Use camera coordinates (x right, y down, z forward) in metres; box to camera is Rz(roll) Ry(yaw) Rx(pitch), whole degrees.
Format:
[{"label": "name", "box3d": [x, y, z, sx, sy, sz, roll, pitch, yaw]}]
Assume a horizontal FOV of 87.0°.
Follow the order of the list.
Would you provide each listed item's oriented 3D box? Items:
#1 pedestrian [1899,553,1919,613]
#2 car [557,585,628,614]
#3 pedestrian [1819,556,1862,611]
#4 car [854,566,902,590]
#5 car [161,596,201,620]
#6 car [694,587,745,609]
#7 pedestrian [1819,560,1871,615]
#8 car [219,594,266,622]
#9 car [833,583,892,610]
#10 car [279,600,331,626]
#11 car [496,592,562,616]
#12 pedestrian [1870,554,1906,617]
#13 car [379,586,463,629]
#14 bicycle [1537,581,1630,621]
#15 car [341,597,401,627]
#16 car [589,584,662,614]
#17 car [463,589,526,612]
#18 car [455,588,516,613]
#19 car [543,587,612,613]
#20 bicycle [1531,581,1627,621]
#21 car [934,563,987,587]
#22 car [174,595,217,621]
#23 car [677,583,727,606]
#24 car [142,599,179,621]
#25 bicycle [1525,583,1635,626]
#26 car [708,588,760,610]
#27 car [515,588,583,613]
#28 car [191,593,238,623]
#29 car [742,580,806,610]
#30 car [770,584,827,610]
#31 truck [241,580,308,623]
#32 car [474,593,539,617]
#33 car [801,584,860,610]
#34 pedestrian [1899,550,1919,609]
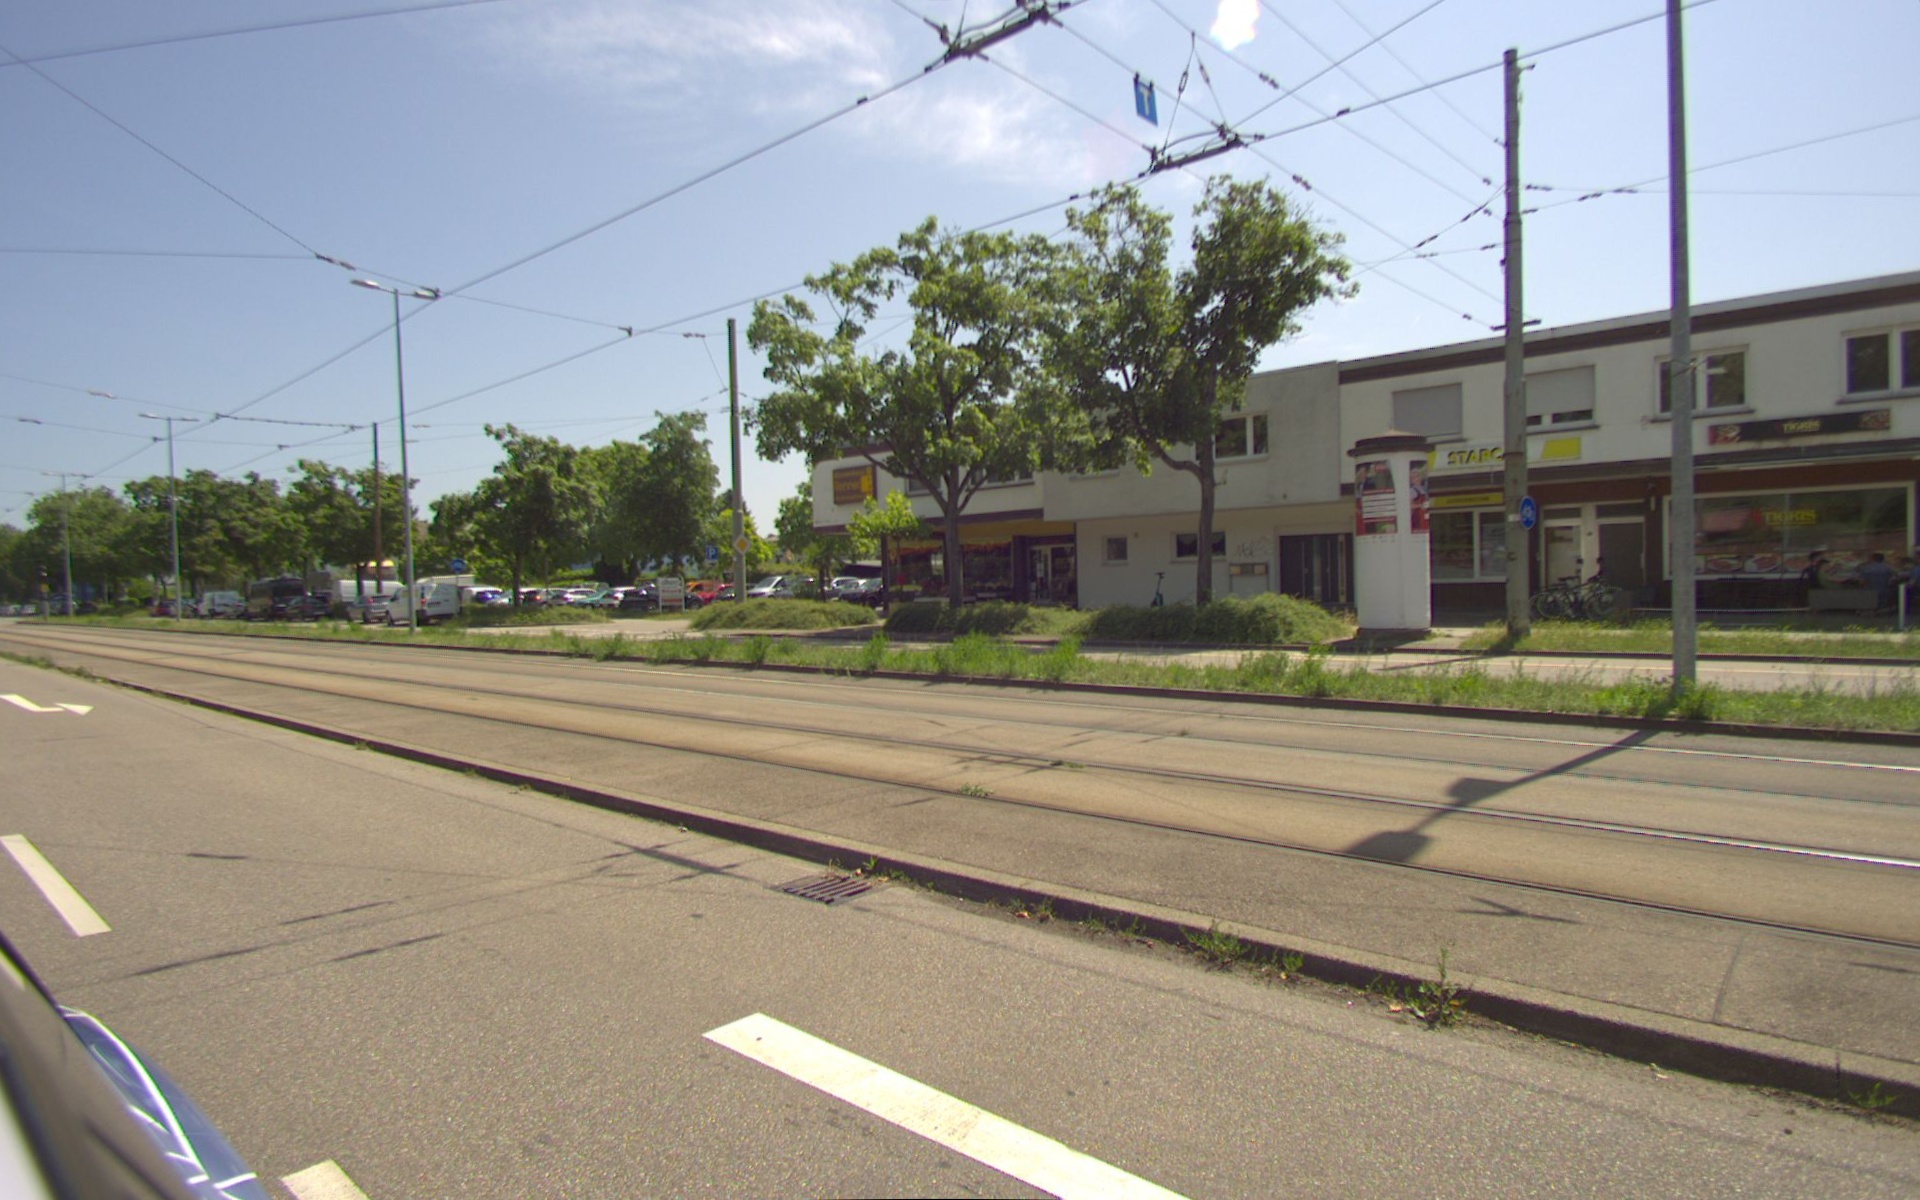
[{"label": "pedestrian", "box3d": [19.568, -0.354, 20.563, 0.674, 1.208, 0.512, -1, 1, 41]}, {"label": "car", "box3d": [-20.538, -0.031, 56.652, 1.595, 1.502, 3.375, -1, 1, 36]}, {"label": "pedestrian", "box3d": [19.137, -0.359, 22.005, 0.674, 1.172, 0.512, -1, 1, 41]}, {"label": "car", "box3d": [-7.172, -1.929, 88.732, 2.000, 2.029, 3.944, -1, 1, 43]}, {"label": "car", "box3d": [-60.614, 0.647, 78.722, 4.200, 1.807, 1.660, -1, 1, 40]}, {"label": "car", "box3d": [-17.137, -0.182, 72.169, 1.505, 1.469, 3.314, -1, 1, 38]}, {"label": "pedestrian", "box3d": [18.716, -0.262, 21.411, 0.810, 1.136, 0.558, -1, 1, 41]}, {"label": "car", "box3d": [-48.514, 0.532, 68.400, 3.866, 1.807, 1.660, -1, 1, 40]}, {"label": "car", "box3d": [-5.941, -0.227, 61.735, 1.622, 1.549, 3.450, -1, 1, 38]}, {"label": "car", "box3d": [-37.829, 0.724, 58.395, 3.669, 1.397, 1.653, -1, 1, 43]}, {"label": "car", "box3d": [-26.441, 0.234, 62.136, 1.600, 1.404, 3.375, -1, 1, 36]}, {"label": "pedestrian", "box3d": [18.776, -0.289, 20.480, 0.491, 1.248, 0.569, -1, 1, 40]}, {"label": "car", "box3d": [-25.493, 0.333, 47.788, 4.660, 1.897, 1.973, -1, 1, 41]}, {"label": "bicycle", "box3d": [14.504, 0.024, 23.569, 1.786, 0.854, 0.523, -1, 4, 41]}, {"label": "car", "box3d": [-30.249, 0.606, 51.934, 3.568, 1.397, 1.653, -1, 1, 43]}, {"label": "car", "box3d": [-18.303, -0.073, 55.511, 1.790, 1.502, 3.375, -1, 1, 36]}, {"label": "car", "box3d": [-30.212, 0.031, 65.713, 1.600, 1.404, 3.375, -1, 1, 36]}, {"label": "car", "box3d": [-31.797, 0.032, 67.852, 1.600, 1.517, 3.375, -1, 1, 36]}, {"label": "car", "box3d": [-22.129, 0.010, 58.600, 1.600, 1.404, 3.375, -1, 1, 36]}, {"label": "bicycle", "box3d": [14.140, 0.031, 23.144, 1.786, 0.854, 0.523, -1, 4, 41]}, {"label": "car", "box3d": [0.078, -1.939, 79.276, 2.000, 1.785, 3.944, -1, 1, 43]}, {"label": "car", "box3d": [-57.287, 0.601, 75.833, 4.200, 1.807, 1.660, -1, 1, 40]}, {"label": "car", "box3d": [-18.862, -0.400, 74.140, 1.505, 1.573, 3.314, -1, 1, 38]}, {"label": "car", "box3d": [-65.722, 0.826, 83.195, 3.821, 1.716, 1.660, -1, 1, 40]}, {"label": "bicycle", "box3d": [13.496, 0.093, 22.058, 1.958, 0.854, 0.596, -1, 4, 41]}, {"label": "car", "box3d": [-15.617, -0.085, 70.019, 1.505, 1.400, 3.314, -1, 1, 38]}, {"label": "car", "box3d": [-24.199, 0.017, 59.651, 1.600, 1.404, 3.375, -1, 1, 36]}, {"label": "car", "box3d": [-52.877, 0.562, 71.801, 4.506, 1.989, 1.660, -1, 1, 40]}, {"label": "car", "box3d": [-12.133, -0.347, 66.215, 1.811, 1.798, 3.949, -1, 1, 38]}, {"label": "car", "box3d": [-10.282, -0.208, 64.701, 1.532, 1.549, 3.450, -1, 1, 38]}, {"label": "truck", "box3d": [-42.360, 0.094, 62.510, 4.927, 2.560, 2.196, -1, 1, 42]}, {"label": "car", "box3d": [-28.421, 0.293, 63.519, 1.600, 1.404, 3.375, -1, 1, 36]}, {"label": "car", "box3d": [-8.042, -0.207, 62.957, 1.622, 1.549, 3.450, -1, 1, 38]}, {"label": "pedestrian", "box3d": [19.969, -0.430, 20.996, 0.674, 1.218, 0.512, -1, 1, 41]}]
